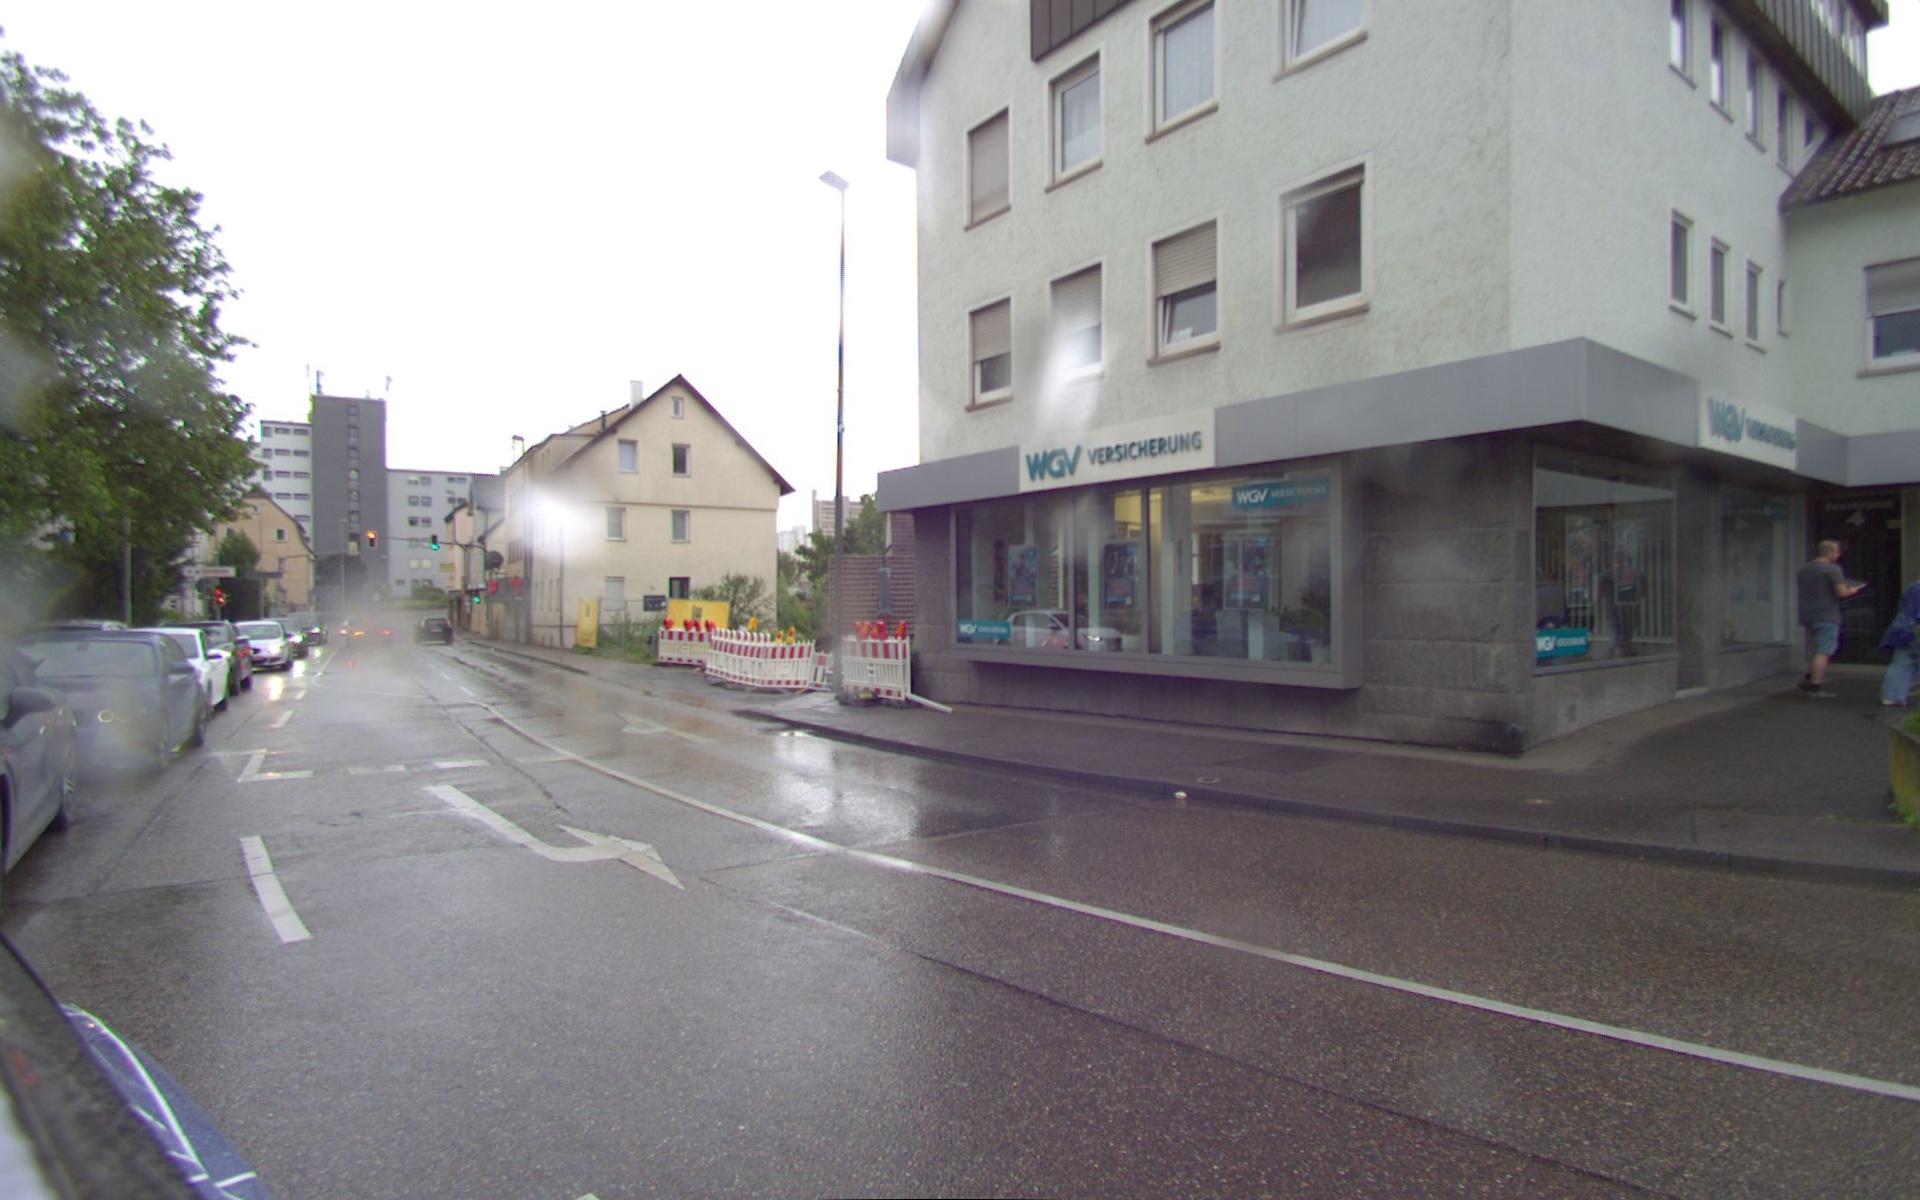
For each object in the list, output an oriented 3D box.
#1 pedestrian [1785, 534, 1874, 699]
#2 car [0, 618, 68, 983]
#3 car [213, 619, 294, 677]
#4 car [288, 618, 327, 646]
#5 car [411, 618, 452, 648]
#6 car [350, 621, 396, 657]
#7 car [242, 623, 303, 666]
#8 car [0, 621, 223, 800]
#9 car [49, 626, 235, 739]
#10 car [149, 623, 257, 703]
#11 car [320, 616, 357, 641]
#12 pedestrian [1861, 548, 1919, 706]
[{"bbox_3d":[10.067,0.183,11.723,0.608,1.833,0.674,-2,0,-43],"label":"pedestrian"},{"bbox_3d":[-6.084,0.884,5.248,1.968,1.504,4.322,-1,-1,-39],"label":"car"},{"bbox_3d":[-22.015,1.452,31.659,1.814,1.633,4.011,-1,-1,-32],"label":"car"},{"bbox_3d":[-38.042,1.838,59.005,1.823,1.489,4.010,-1,-1,-34],"label":"car"},{"bbox_3d":[-29.206,1.768,55.835,1.783,1.577,4.012,0,-1,-31],"label":"car"},{"bbox_3d":[-27.612,1.789,47.557,1.783,1.577,4.012,0,-1,-31],"label":"car"},{"bbox_3d":[-27.798,1.761,41.012,1.802,1.563,4.011,-2,0,-32],"label":"car"},{"bbox_3d":[-9.316,1.026,10.979,1.745,1.544,4.390,-1,-1,-31],"label":"car"},{"bbox_3d":[-13.007,1.210,16.349,1.967,1.464,4.010,-2,0,-34],"label":"car"},{"bbox_3d":[-16.836,1.318,22.447,1.785,1.577,4.008,0,-1,-39],"label":"car"},{"bbox_3d":[-44.760,2.085,72.853,1.967,1.564,4.009,2,-6,-35],"label":"car"},{"bbox_3d":[10.439,0.285,11.000,0.608,1.684,0.864,-2,0,-42],"label":"pedestrian"}]
